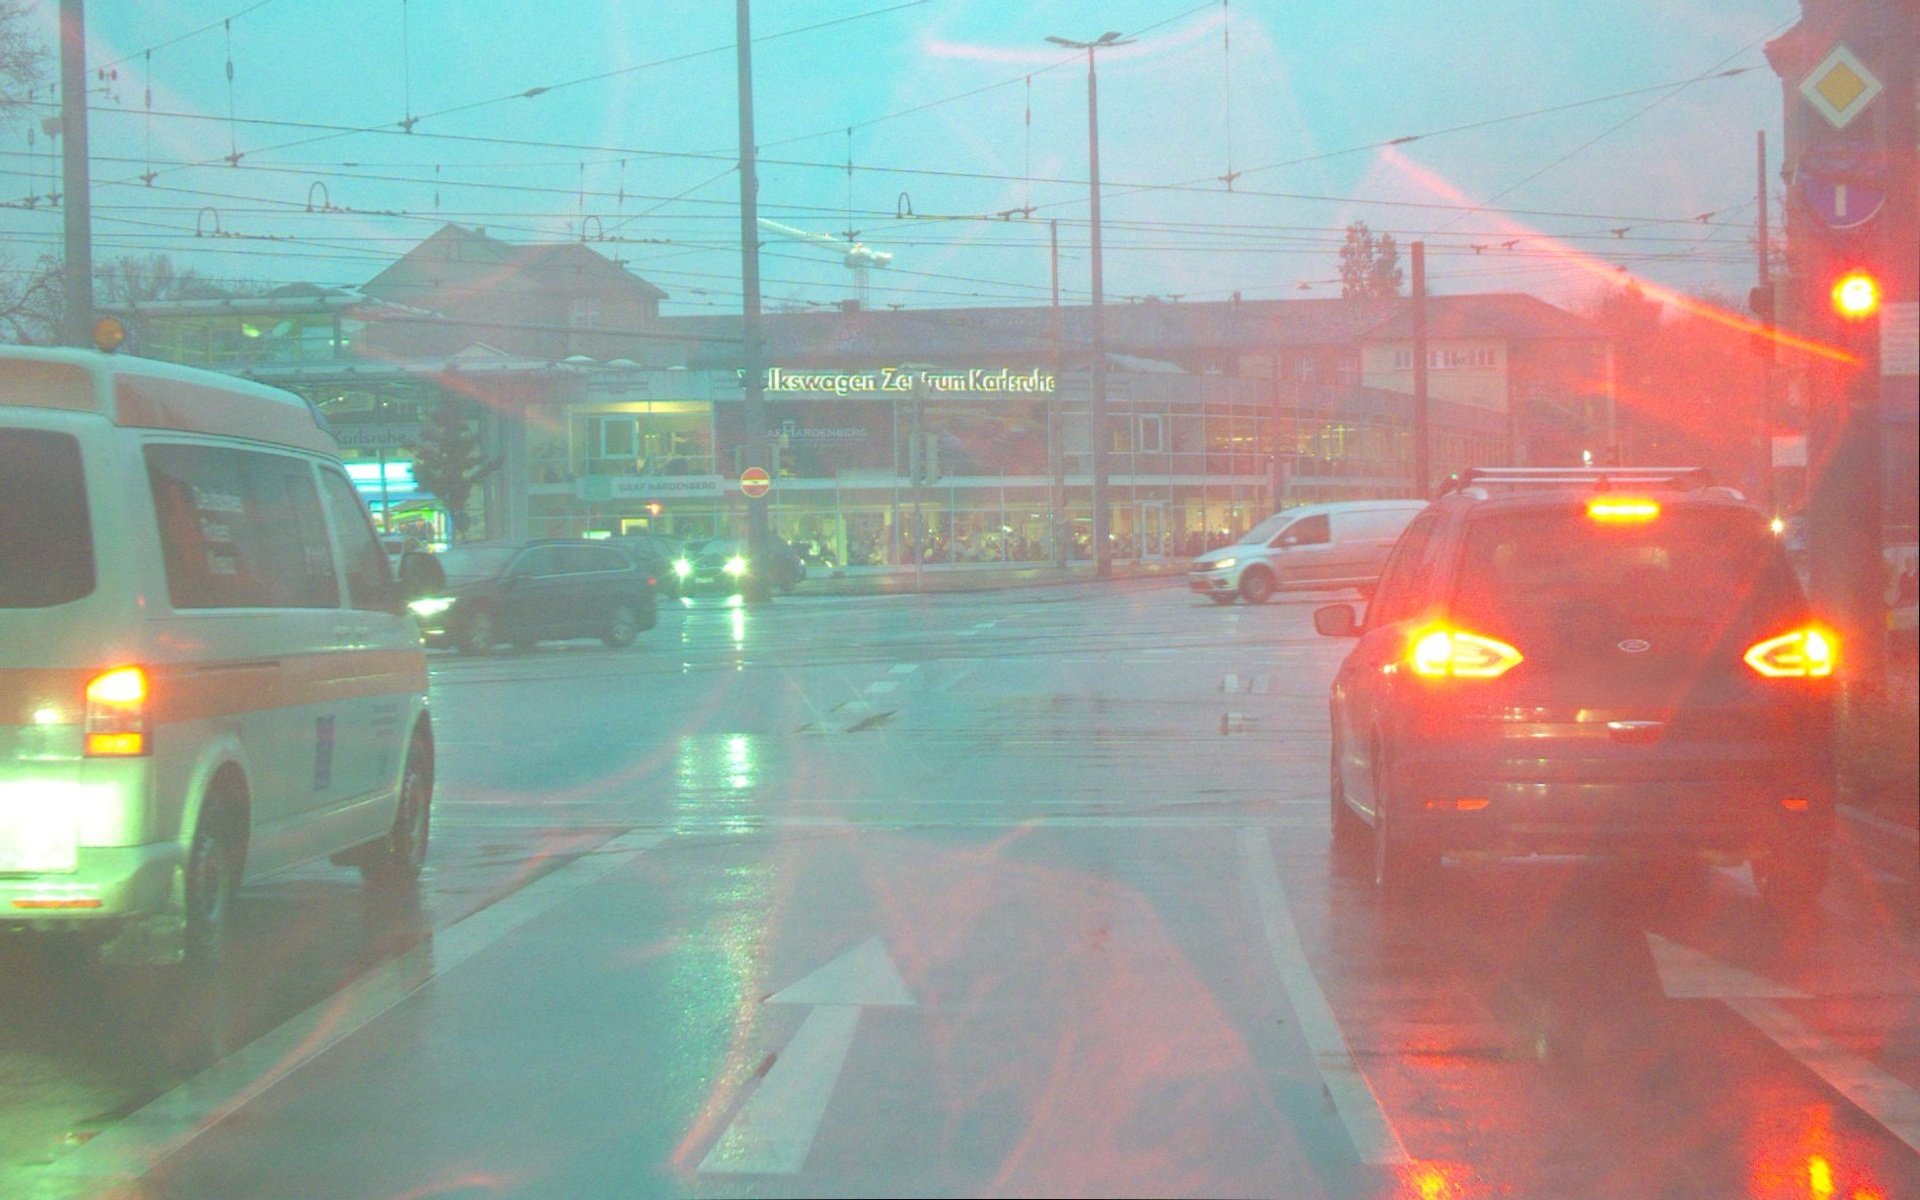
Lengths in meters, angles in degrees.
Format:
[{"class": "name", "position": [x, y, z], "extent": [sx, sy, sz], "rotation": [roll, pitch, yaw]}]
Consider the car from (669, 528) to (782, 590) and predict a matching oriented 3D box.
[{"class": "car", "position": [-5.694, -1.008, 83.955], "extent": [1.814, 1.441, 3.998], "rotation": [-1, 1, 10]}]

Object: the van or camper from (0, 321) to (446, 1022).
[{"class": "van or camper", "position": [-3.485, 0.169, 12.851], "extent": [2.202, 2.102, 4.987], "rotation": [0, 1, 2]}]

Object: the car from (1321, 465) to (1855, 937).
[{"class": "car", "position": [2.626, 0.357, 15.331], "extent": [1.778, 1.794, 4.424], "rotation": [0, 1, 3]}]

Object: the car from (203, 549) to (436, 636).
[{"class": "car", "position": [-10.877, -0.138, 58.288], "extent": [3.803, 1.362, 1.852], "rotation": [-1, 1, -13]}]

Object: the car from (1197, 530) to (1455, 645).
[{"class": "car", "position": [6.761, -0.211, 63.690], "extent": [4.402, 2.007, 1.911], "rotation": [1, -2, -10]}]

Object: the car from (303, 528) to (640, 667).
[{"class": "car", "position": [-6.028, -0.054, 42.822], "extent": [1.997, 1.597, 3.993], "rotation": [-1, 1, 33]}]

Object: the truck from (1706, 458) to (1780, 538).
[{"class": "truck", "position": [27.339, -3.524, 119.965], "extent": [1.995, 2.682, 5.111], "rotation": [-1, 1, 18]}]
